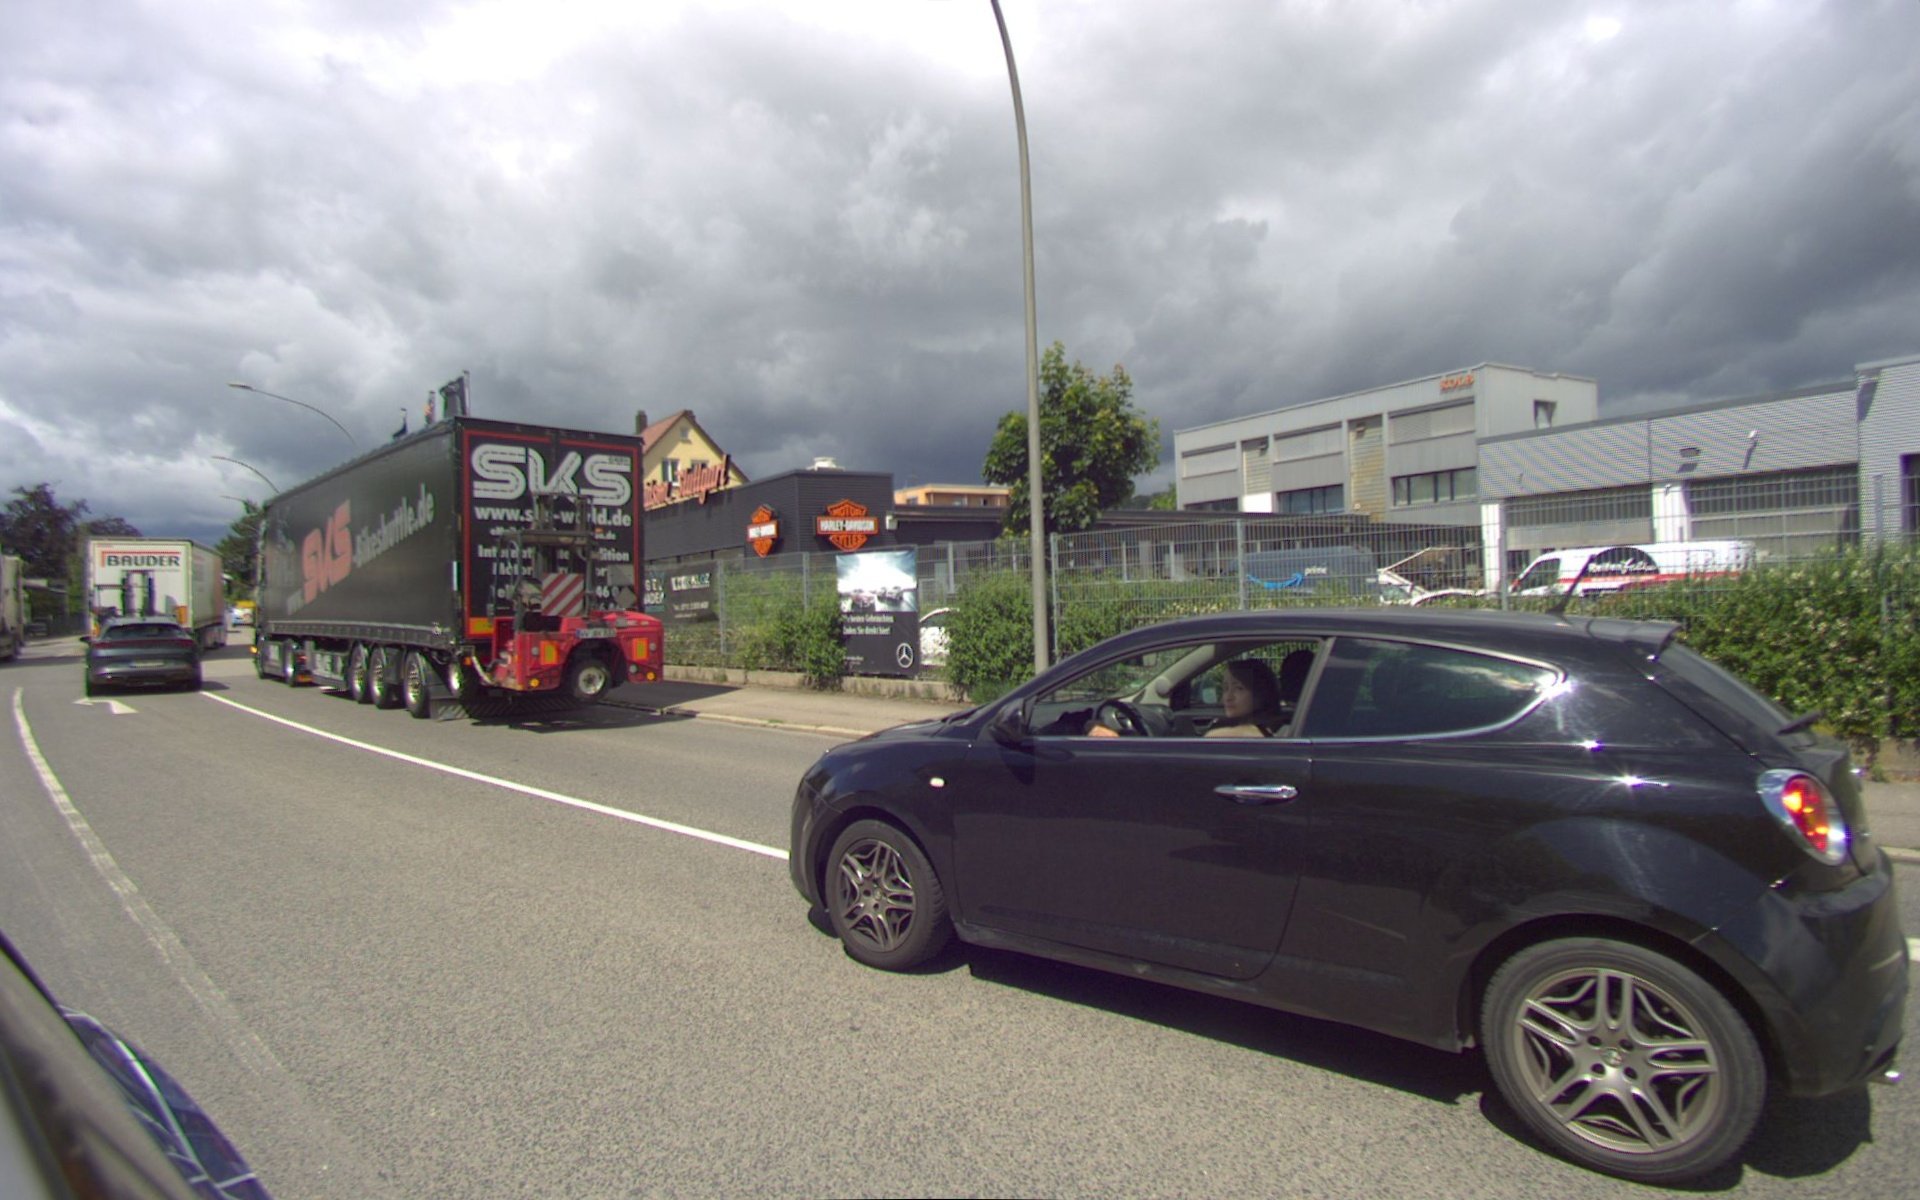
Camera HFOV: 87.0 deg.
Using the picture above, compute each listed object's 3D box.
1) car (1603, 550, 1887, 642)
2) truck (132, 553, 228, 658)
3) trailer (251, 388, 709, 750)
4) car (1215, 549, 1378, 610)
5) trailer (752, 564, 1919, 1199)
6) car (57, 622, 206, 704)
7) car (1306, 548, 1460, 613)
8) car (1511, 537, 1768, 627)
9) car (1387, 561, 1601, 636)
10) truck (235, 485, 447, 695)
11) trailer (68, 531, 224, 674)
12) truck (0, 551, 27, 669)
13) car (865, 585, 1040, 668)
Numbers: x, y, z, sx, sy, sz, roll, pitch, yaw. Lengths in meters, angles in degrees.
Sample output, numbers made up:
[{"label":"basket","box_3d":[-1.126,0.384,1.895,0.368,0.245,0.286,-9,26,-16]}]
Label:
[{"label":"car","box_3d":[15.447,-0.098,20.130,1.699,1.617,4.160,-2,1,-37]},{"label":"truck","box_3d":[-33.222,0.212,43.296,2.734,4.150,5.000,-2,1,-33]},{"label":"trailer","box_3d":[-9.658,-0.290,18.083,2.766,4.083,15.572,-2,1,-43]},{"label":"car","box_3d":[9.512,-0.569,28.892,1.699,1.617,4.160,-2,1,-37]},{"label":"trailer","box_3d":[1.183,0.682,3.742,3.994,1.434,1.631,-2,-1,38]},{"label":"car","box_3d":[-16.862,1.192,20.526,4.254,1.474,1.819,-1,-1,43]},{"label":"car","box_3d":[14.099,-0.636,33.944,1.967,2.028,4.348,-2,1,-35]},{"label":"car","box_3d":[15.899,-0.422,23.961,1.755,1.914,4.744,-2,1,-33]},{"label":"car","box_3d":[12.601,-0.056,24.110,1.699,1.617,4.160,-2,1,-37]},{"label":"truck","box_3d":[-14.233,-0.202,23.025,2.766,4.083,6.508,-2,1,-43]},{"label":"trailer","box_3d":[-29.001,0.070,36.755,2.734,4.176,15.393,-2,1,-33]},{"label":"truck","box_3d":[-33.088,0.353,33.195,2.624,3.840,9.836,-2,1,-37]},{"label":"car","box_3d":[-0.264,0.526,22.433,1.699,1.617,4.160,-2,1,-37]}]
